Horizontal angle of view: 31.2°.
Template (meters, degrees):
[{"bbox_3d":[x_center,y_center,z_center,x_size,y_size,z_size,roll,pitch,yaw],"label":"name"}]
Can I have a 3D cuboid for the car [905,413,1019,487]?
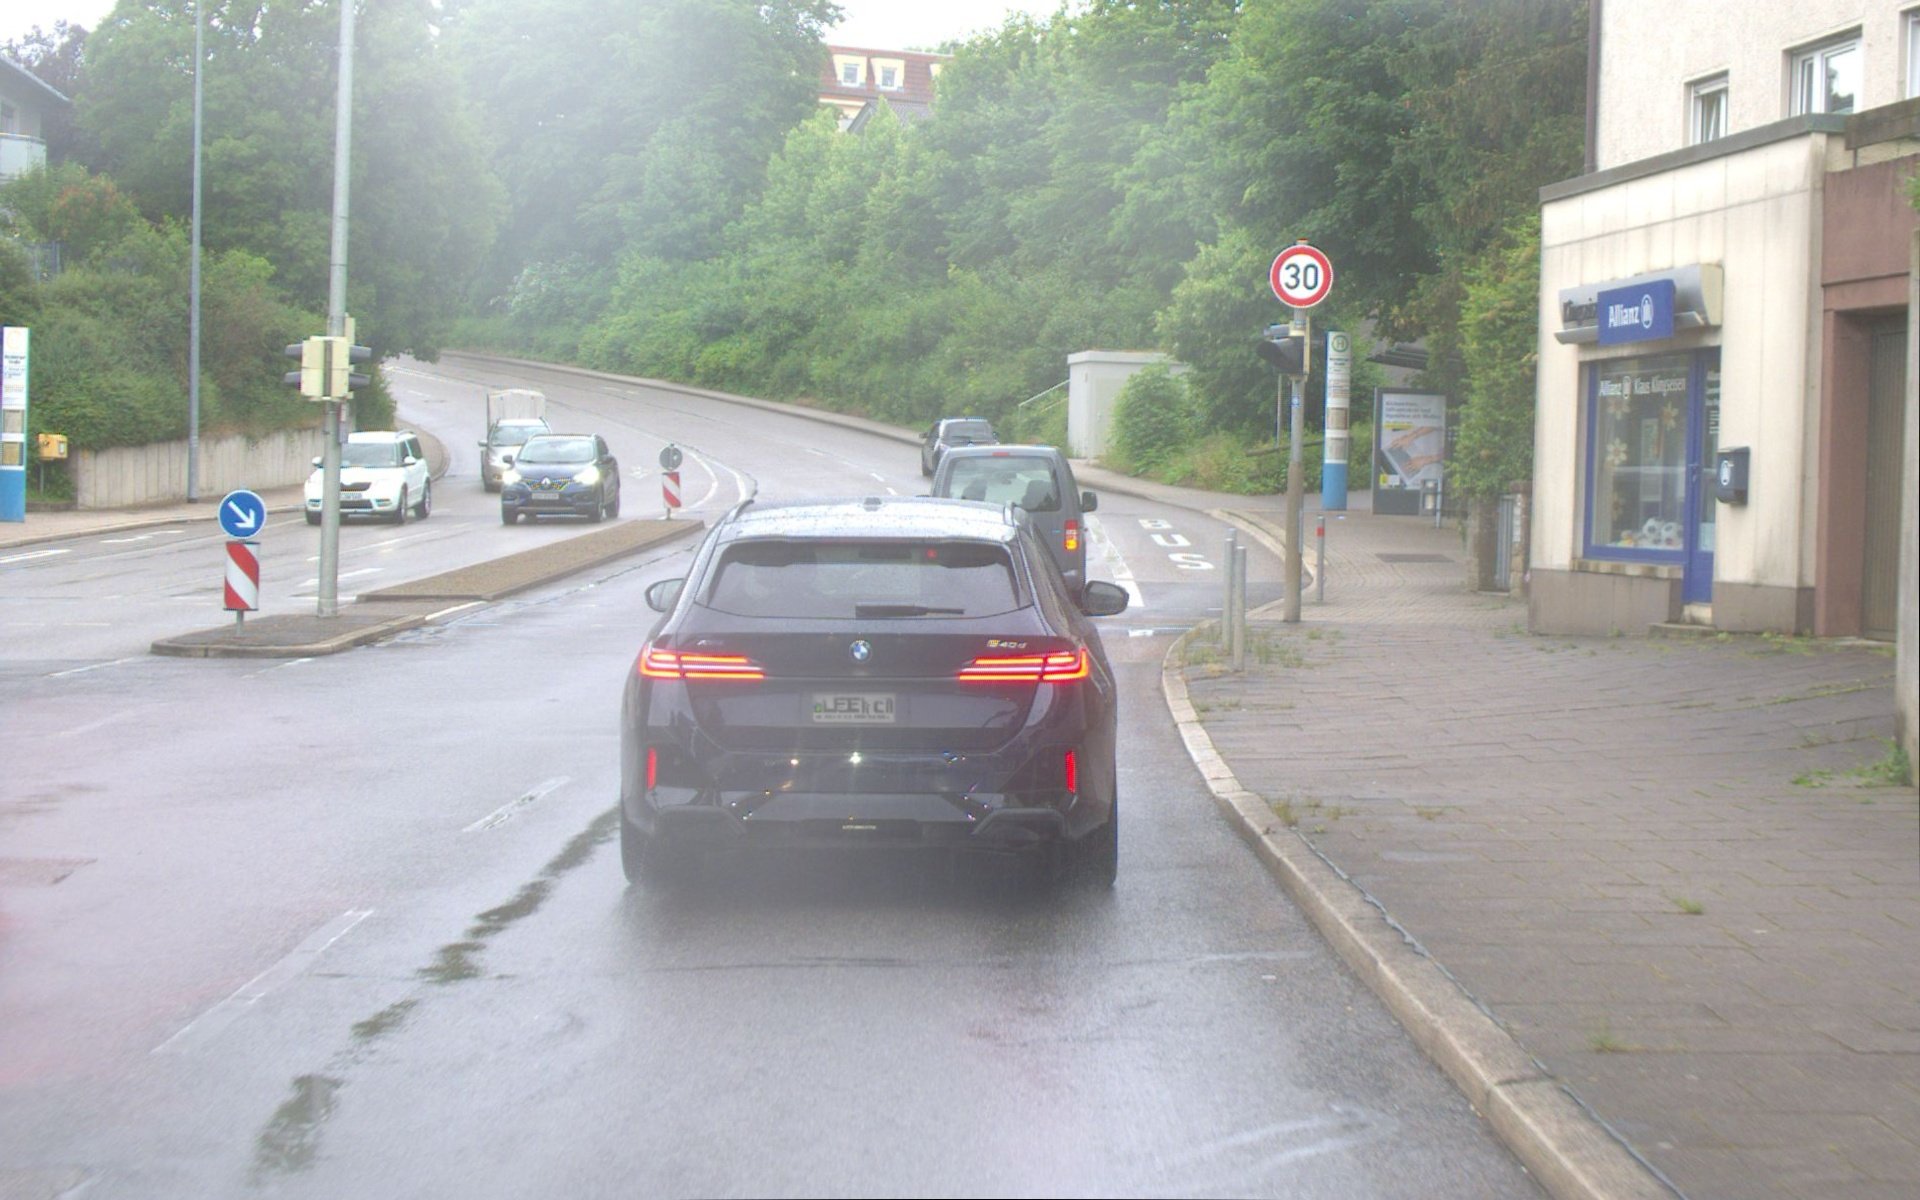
[{"bbox_3d":[0.020,-3.579,81.769,1.850,1.656,4.002,1,3,-13],"label":"car"}]

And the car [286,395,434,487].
[{"bbox_3d":[-11.131,-2.945,64.030,1.823,1.651,4.467,0,2,2],"label":"car"}]

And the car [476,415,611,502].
[{"bbox_3d":[-7.648,-2.608,63.535,1.841,1.546,4.384,0,2,2],"label":"car"}]

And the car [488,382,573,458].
[{"bbox_3d":[-9.902,-4.180,79.437,1.899,1.677,4.481,0,4,-7],"label":"car"}]

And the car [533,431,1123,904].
[{"bbox_3d":[-0.546,0.215,14.160,1.993,1.581,4.663,1,0,-2],"label":"car"}]

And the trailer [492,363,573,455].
[{"bbox_3d":[-10.410,-4.629,83.613,1.895,2.171,4.037,0,3,-8],"label":"trailer"}]

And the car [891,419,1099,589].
[{"bbox_3d":[0.319,-1.041,37.156,1.993,1.742,4.001,0,2,-3],"label":"car"}]

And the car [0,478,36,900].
[{"bbox_3d":[-4.221,0.354,10.940,1.908,1.523,4.653,0,2,-8],"label":"car"}]
